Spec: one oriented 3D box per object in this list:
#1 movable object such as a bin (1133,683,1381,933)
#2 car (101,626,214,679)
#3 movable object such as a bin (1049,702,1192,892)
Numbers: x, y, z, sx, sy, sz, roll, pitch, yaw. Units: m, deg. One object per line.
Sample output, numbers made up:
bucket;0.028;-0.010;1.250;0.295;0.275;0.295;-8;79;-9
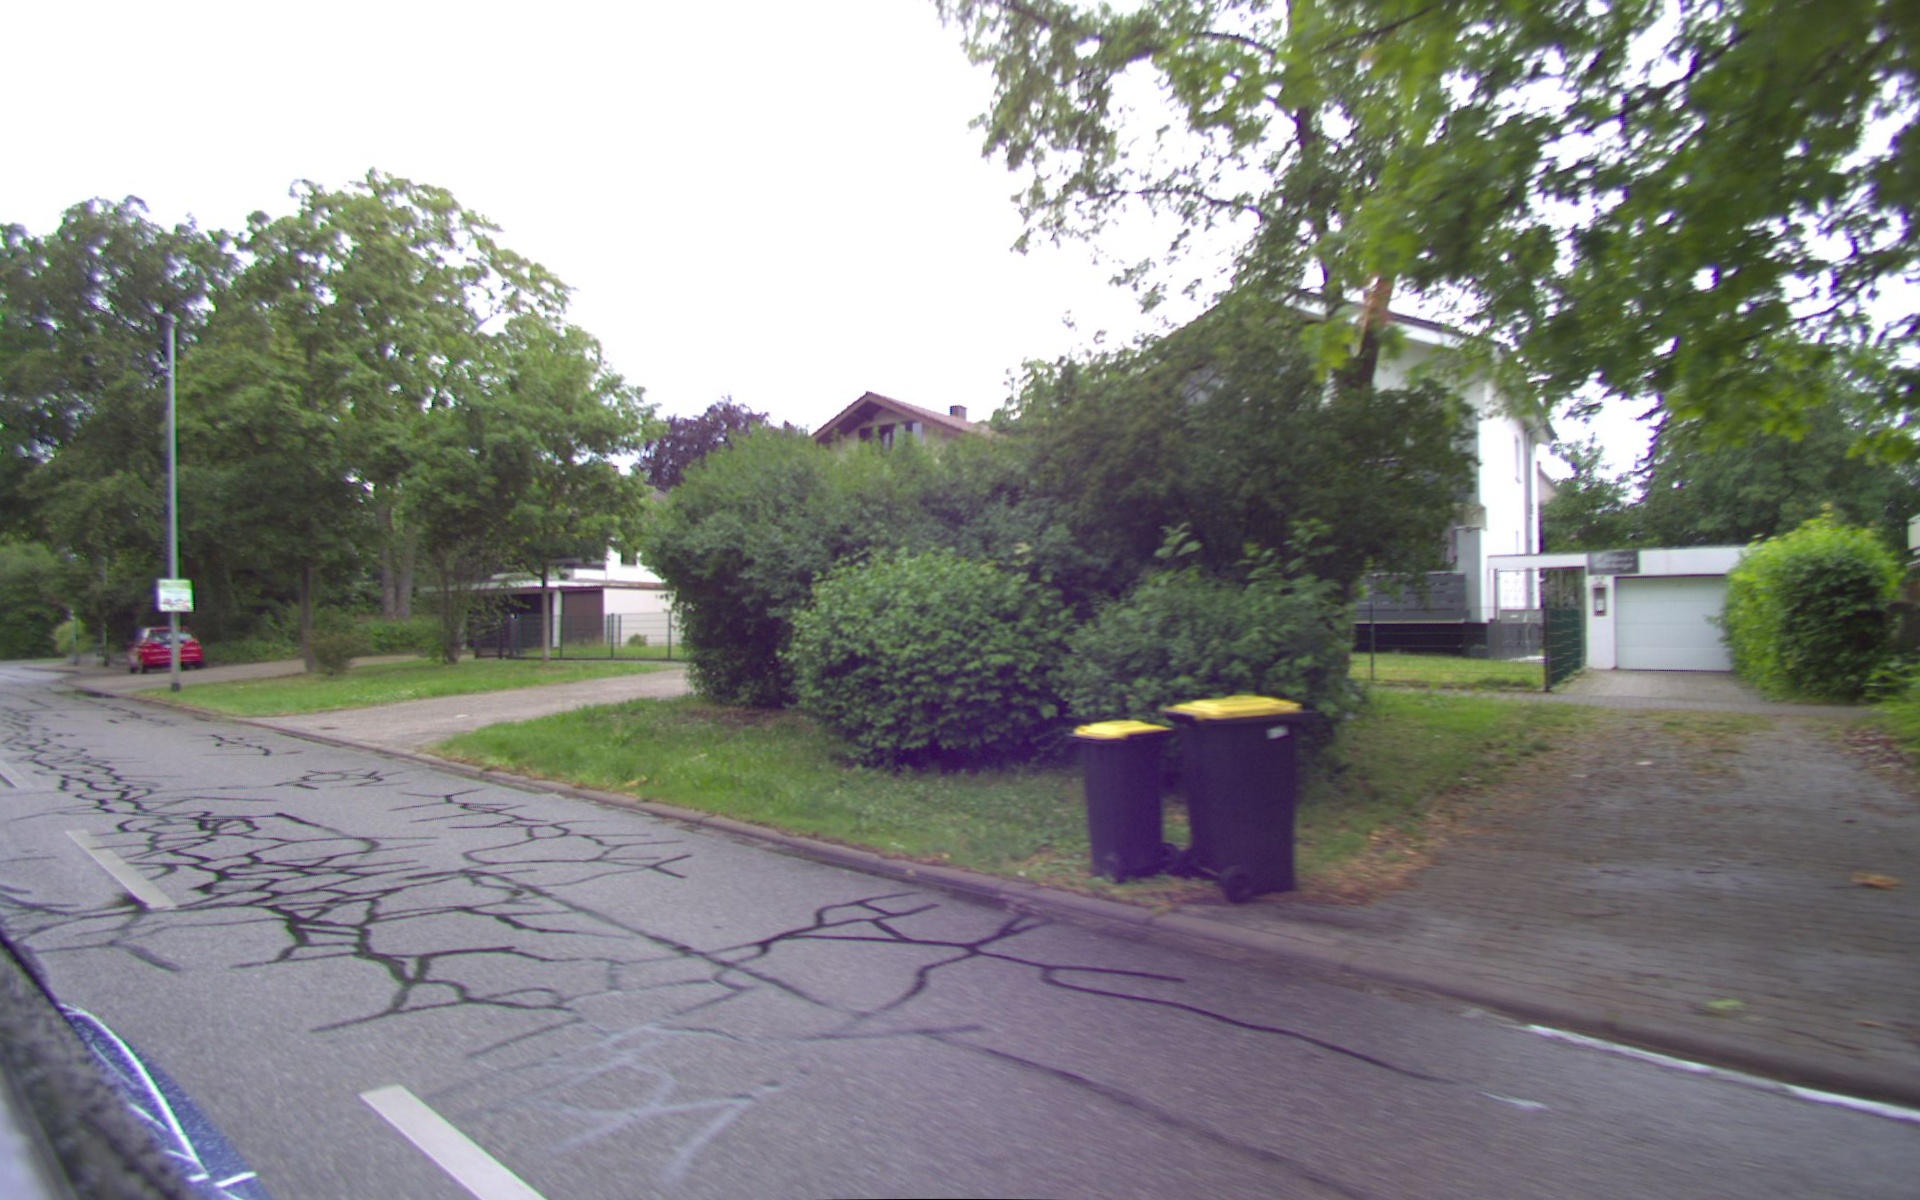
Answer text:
movable object such as a bin;1.680;1.082;5.700;0.966;1.113;1.026;-2;0;43
car;-27.399;1.787;34.526;3.992;1.527;1.976;-3;2;36
movable object such as a bin;0.967;1.145;6.094;0.578;0.986;0.641;-2;-1;43
